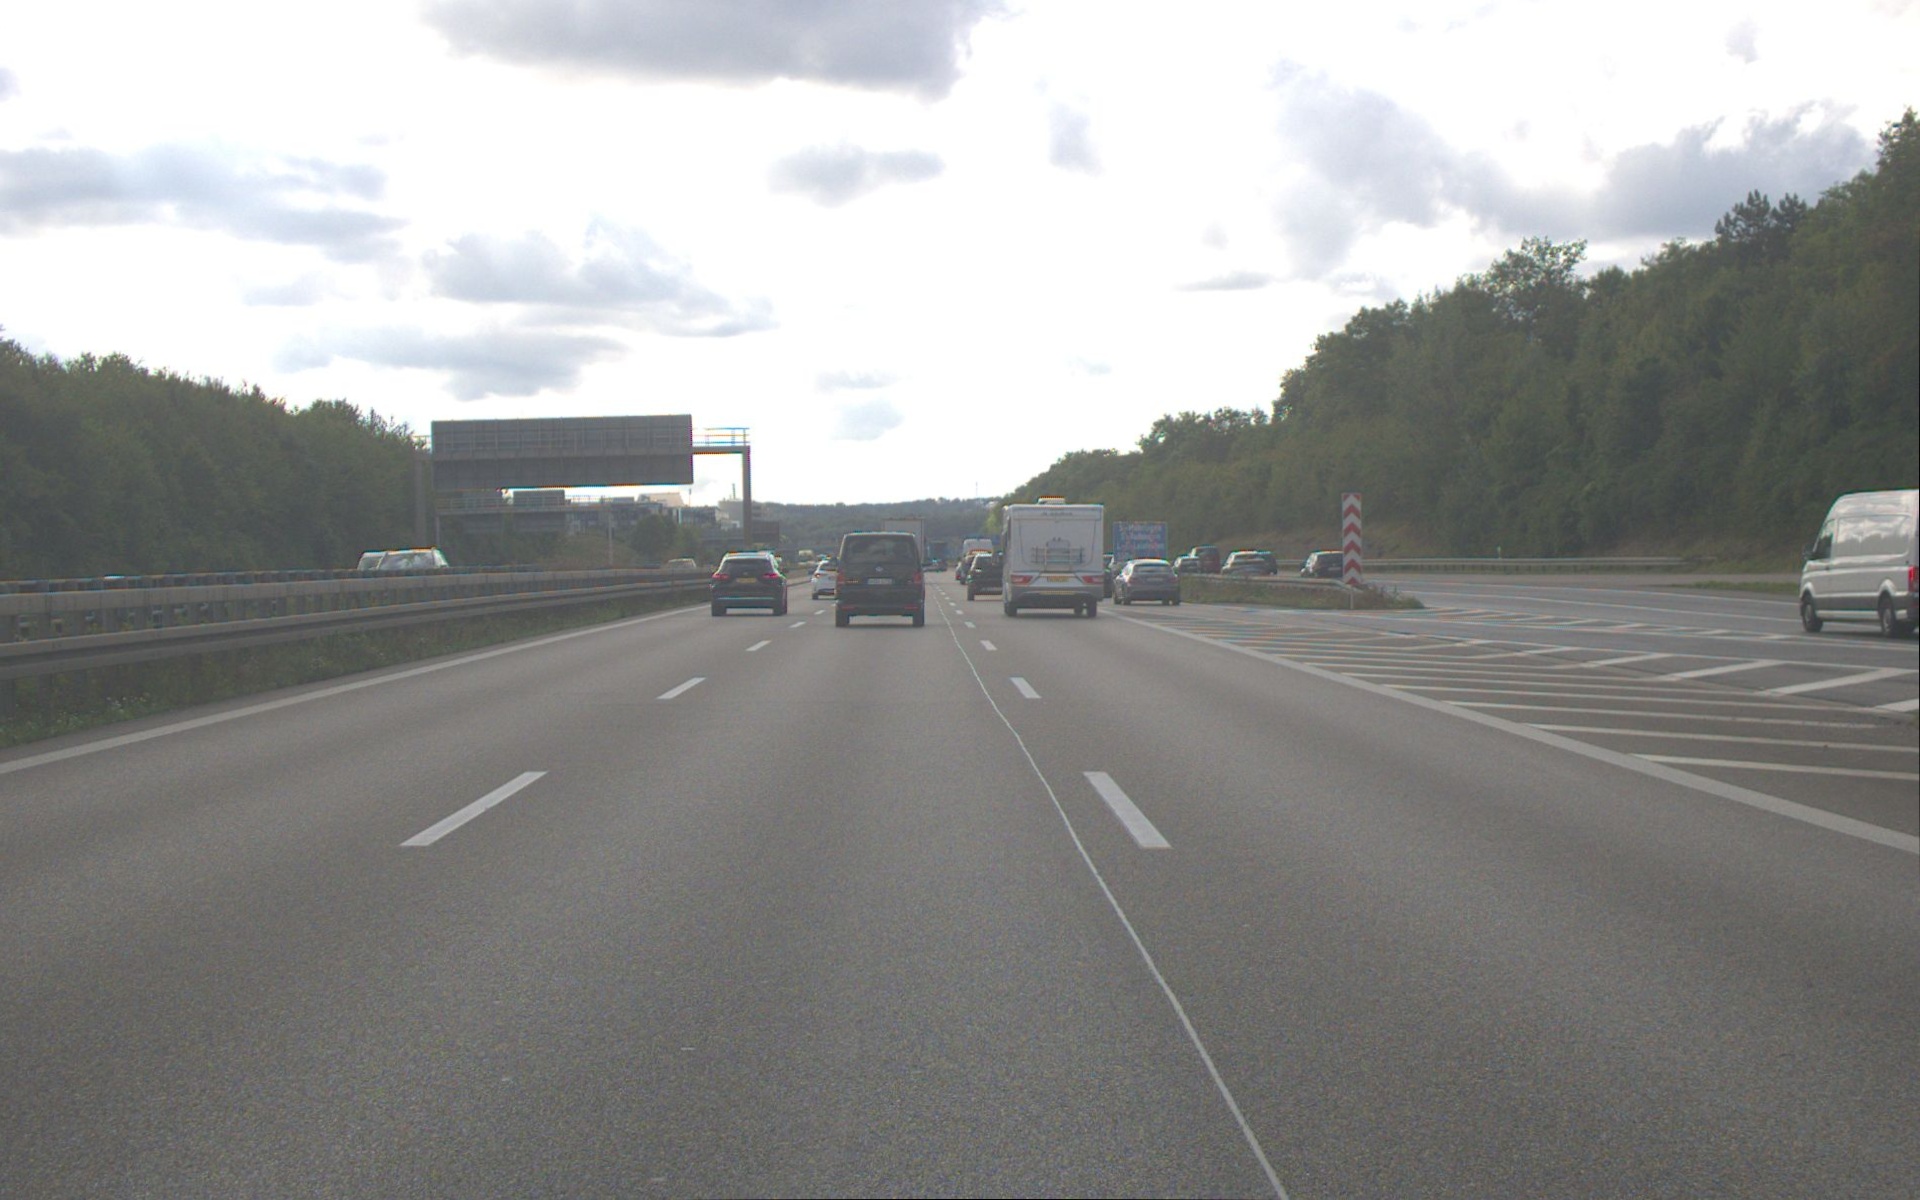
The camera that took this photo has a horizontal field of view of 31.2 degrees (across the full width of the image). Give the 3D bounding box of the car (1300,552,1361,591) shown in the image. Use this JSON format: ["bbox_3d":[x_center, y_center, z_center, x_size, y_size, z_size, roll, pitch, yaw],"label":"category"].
[{"bbox_3d":[14.949,-1.162,138.920,1.843,1.479,4.526,-3,1,-1],"label":"car"}]

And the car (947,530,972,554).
[{"bbox_3d":[-0.055,-4.198,248.811,1.752,1.689,4.190,0,0,-1],"label":"car"}]

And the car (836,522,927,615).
[{"bbox_3d":[-1.670,-0.679,72.902,1.855,1.904,4.260,0,1,-1],"label":"car"}]

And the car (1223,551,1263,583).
[{"bbox_3d":[14.105,-1.648,171.266,1.541,1.479,3.942,-3,1,-1],"label":"car"}]

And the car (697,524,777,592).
[{"bbox_3d":[-5.692,-1.064,88.090,1.873,1.692,4.072,-1,0,-1],"label":"car"}]

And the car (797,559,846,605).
[{"bbox_3d":[-4.965,-0.666,123.249,1.697,1.605,4.114,-1,1,-2],"label":"car"}]

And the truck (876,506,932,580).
[{"bbox_3d":[-3.384,-3.447,210.248,3.263,4.360,11.026,0,1,0],"label":"truck"}]

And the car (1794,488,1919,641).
[{"bbox_3d":[16.789,-0.673,60.721,2.069,2.545,6.744,-1,1,-3],"label":"car"}]

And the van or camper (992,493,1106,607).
[{"bbox_3d":[2.168,-1.252,86.379,2.468,2.712,7.662,0,1,-1],"label":"van or camper"}]

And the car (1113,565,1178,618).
[{"bbox_3d":[5.804,-0.272,107.922,1.697,1.605,3.896,-1,1,-2],"label":"car"}]

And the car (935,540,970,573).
[{"bbox_3d":[-0.423,-2.500,198.182,1.913,1.912,4.030,0,1,-1],"label":"car"}]

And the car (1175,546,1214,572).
[{"bbox_3d":[14.106,-2.471,206.925,1.843,1.479,4.526,-3,1,-2],"label":"car"}]

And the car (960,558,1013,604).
[{"bbox_3d":[0.913,-0.667,120.603,1.697,1.559,4.114,-1,1,-2],"label":"car"}]
